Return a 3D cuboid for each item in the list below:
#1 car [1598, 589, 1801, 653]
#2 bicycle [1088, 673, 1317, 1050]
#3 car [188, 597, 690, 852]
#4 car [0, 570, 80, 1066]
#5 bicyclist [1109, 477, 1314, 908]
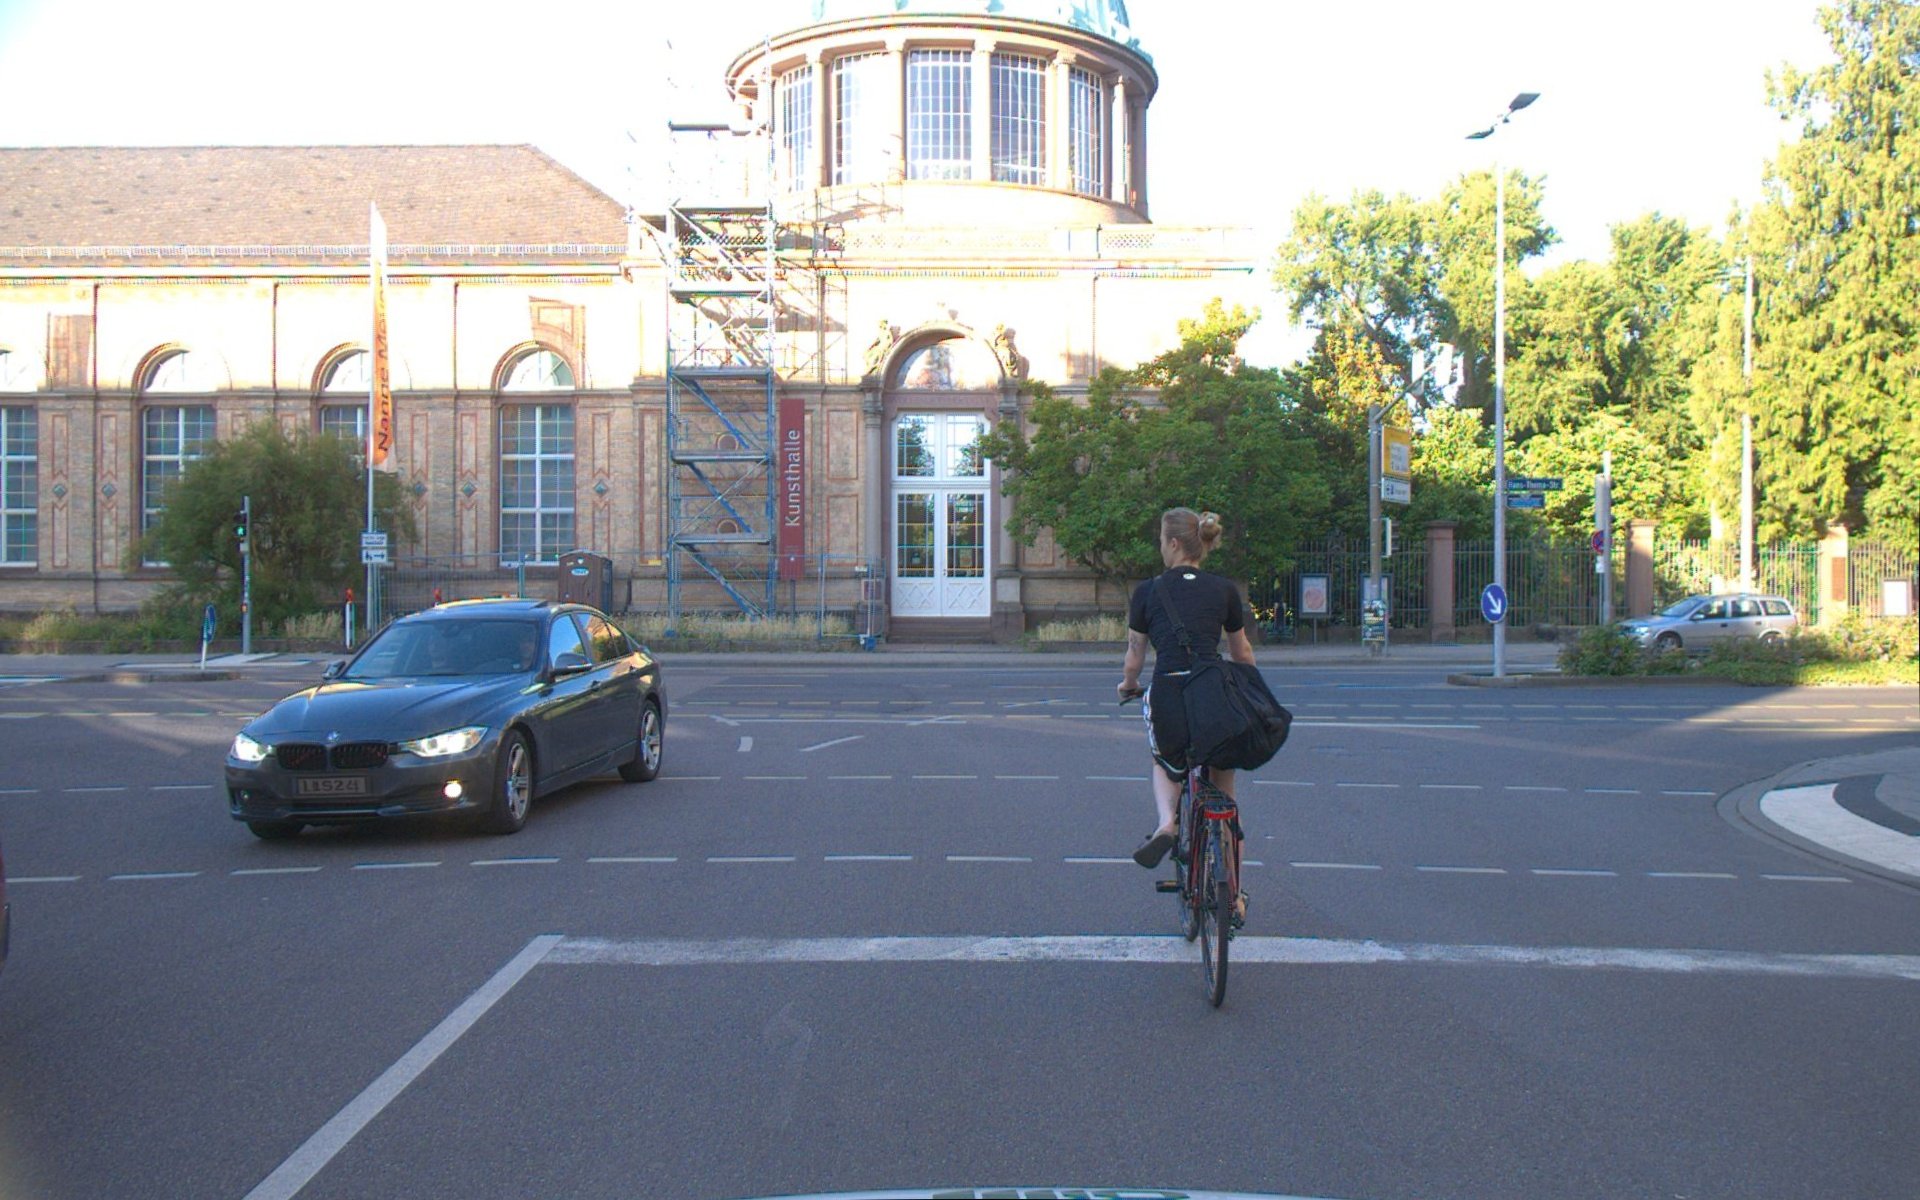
[{"bbox_3d":[17.506,0.472,39.216,4.104,1.470,1.713,0,0,-6],"label":"car"},{"bbox_3d":[1.011,0.898,6.471,0.696,1.176,2.070,-1,-1,13],"label":"bicycle"},{"bbox_3d":[-3.439,0.735,11.931,1.744,1.485,4.427,-1,0,7],"label":"car"},{"bbox_3d":[-3.926,0.737,3.269,1.793,1.572,4.847,-1,1,-1],"label":"car"},{"bbox_3d":[0.987,0.339,6.366,0.701,1.529,0.851,-1,-2,13],"label":"bicyclist"}]
